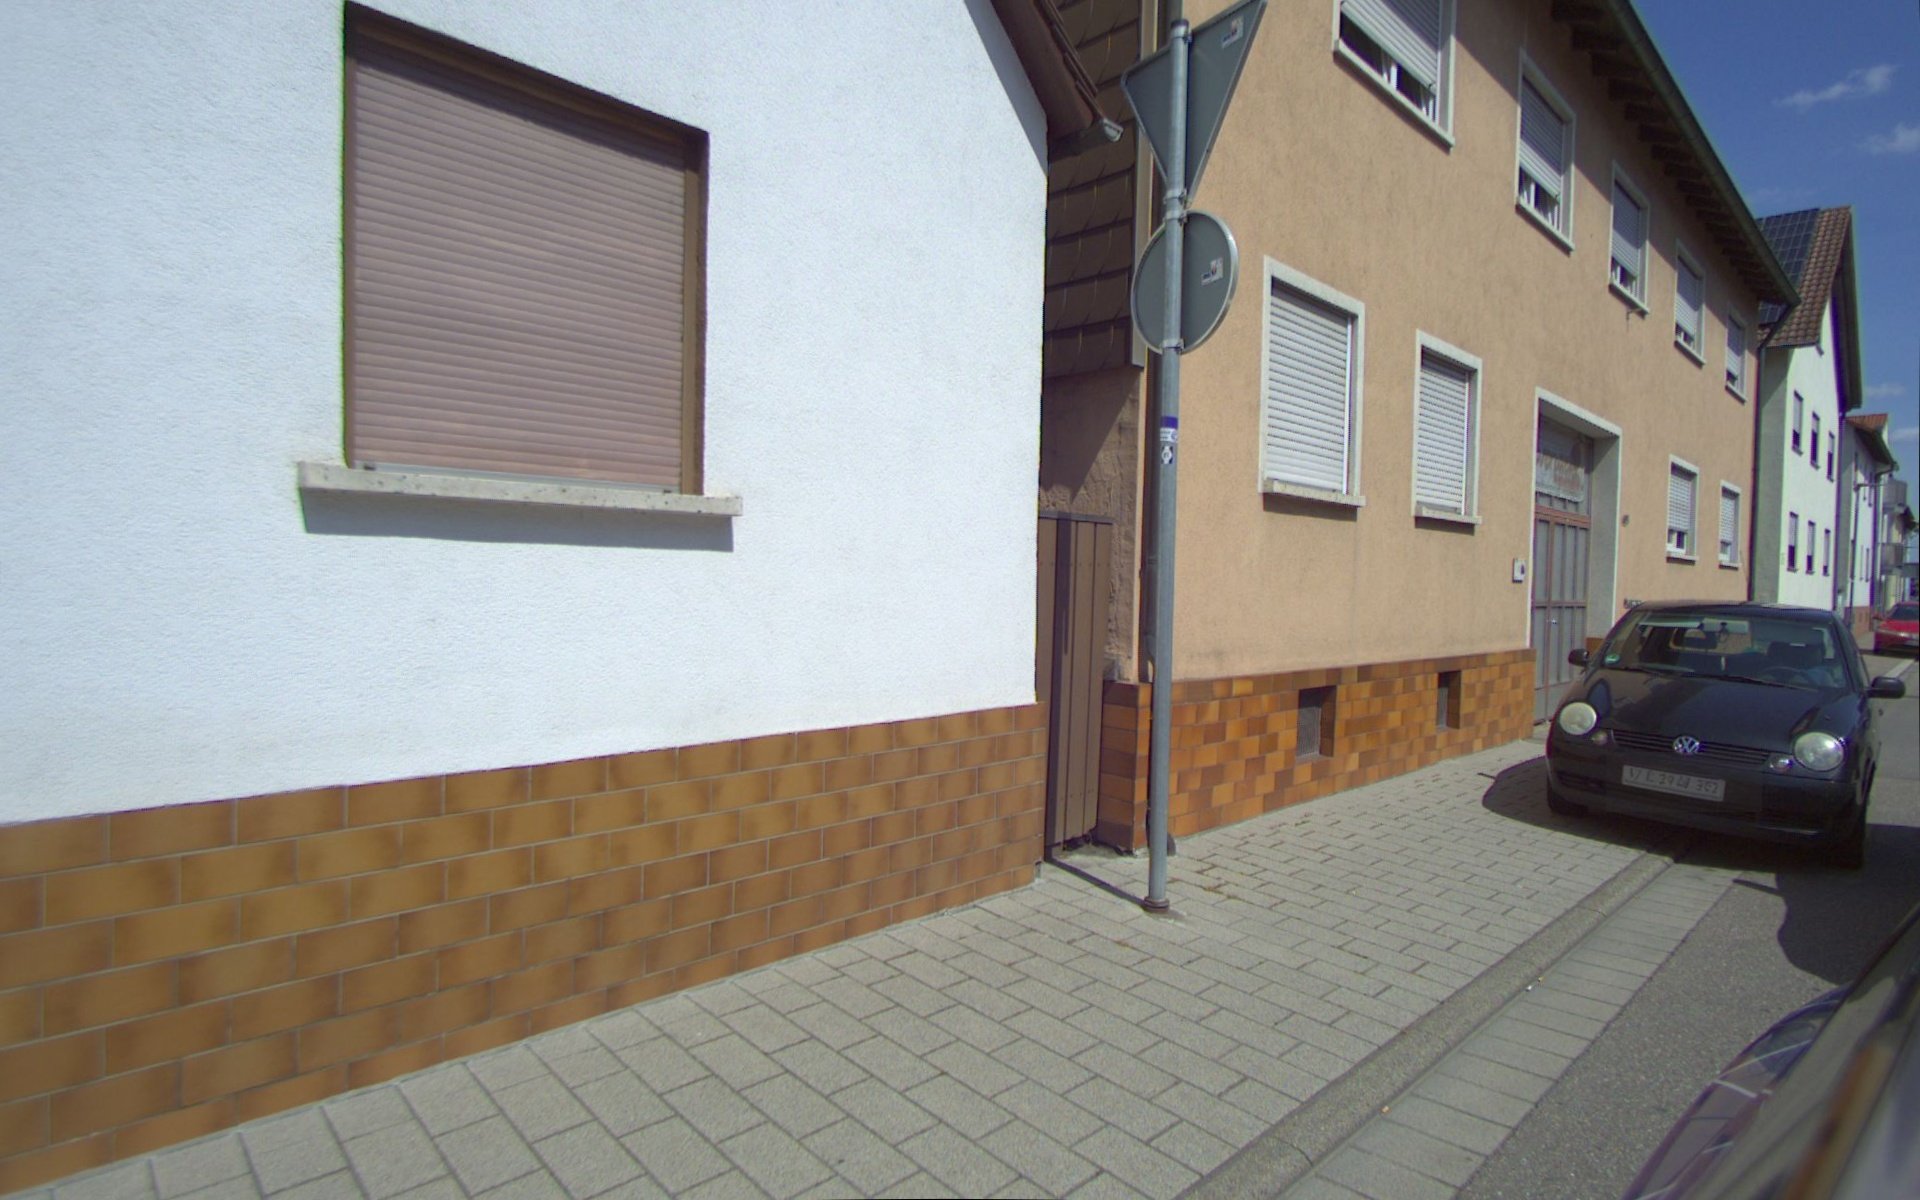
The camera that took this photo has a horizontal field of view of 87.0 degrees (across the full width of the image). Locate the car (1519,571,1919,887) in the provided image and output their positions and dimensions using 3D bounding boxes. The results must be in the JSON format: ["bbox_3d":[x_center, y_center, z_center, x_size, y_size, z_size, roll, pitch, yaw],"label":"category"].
[{"bbox_3d":[5.333,0.629,6.876,3.570,1.481,1.688,0,4,-45],"label":"car"}]

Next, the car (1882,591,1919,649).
[{"bbox_3d":[25.720,0.534,26.763,4.121,1.446,1.761,0,2,-45],"label":"car"}]
